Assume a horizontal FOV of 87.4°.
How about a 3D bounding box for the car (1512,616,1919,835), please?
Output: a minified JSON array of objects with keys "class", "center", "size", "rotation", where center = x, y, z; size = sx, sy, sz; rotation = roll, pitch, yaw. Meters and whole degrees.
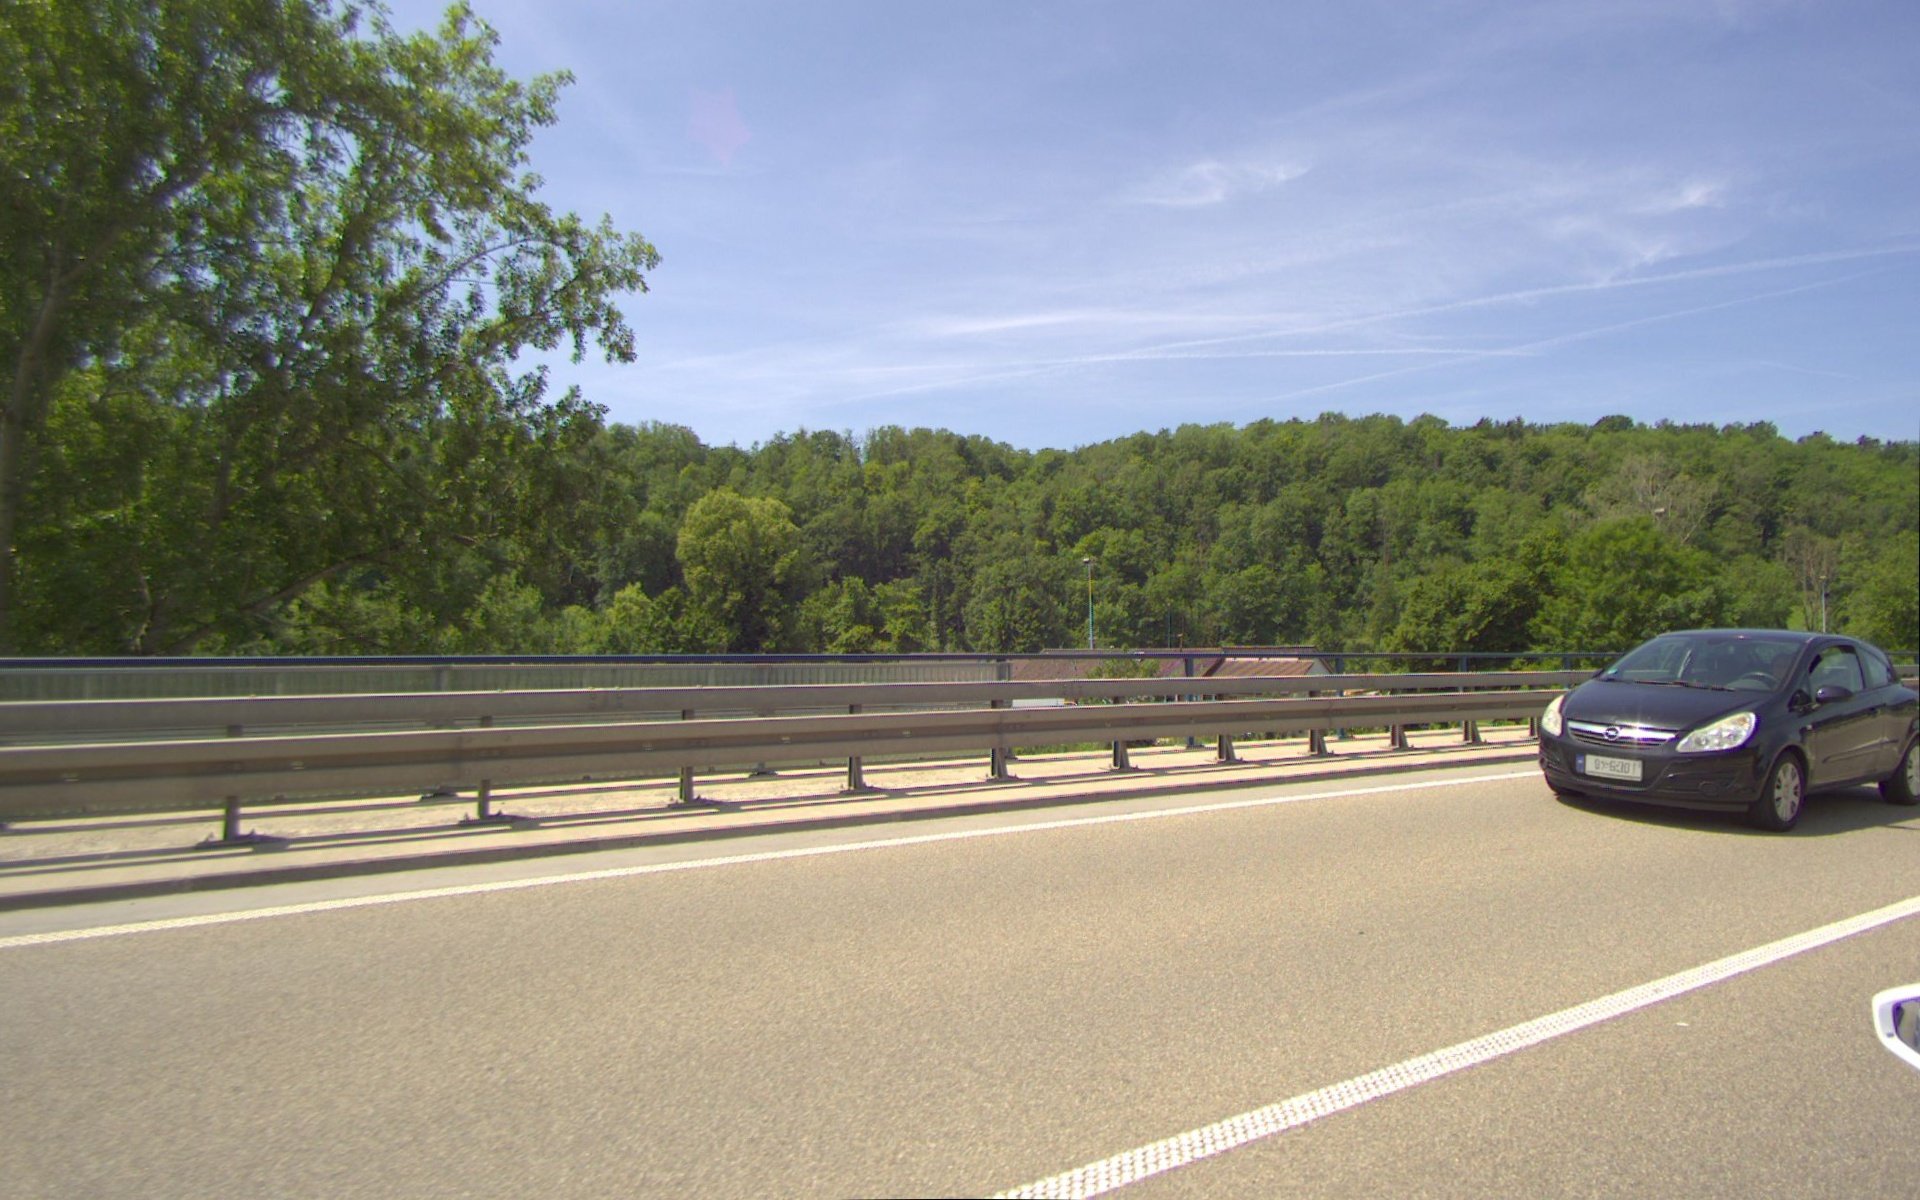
[{"class":"car","center":[6.650,0.919,8.624],"size":[3.850,1.477,1.653],"rotation":[2,0,-31]}]
